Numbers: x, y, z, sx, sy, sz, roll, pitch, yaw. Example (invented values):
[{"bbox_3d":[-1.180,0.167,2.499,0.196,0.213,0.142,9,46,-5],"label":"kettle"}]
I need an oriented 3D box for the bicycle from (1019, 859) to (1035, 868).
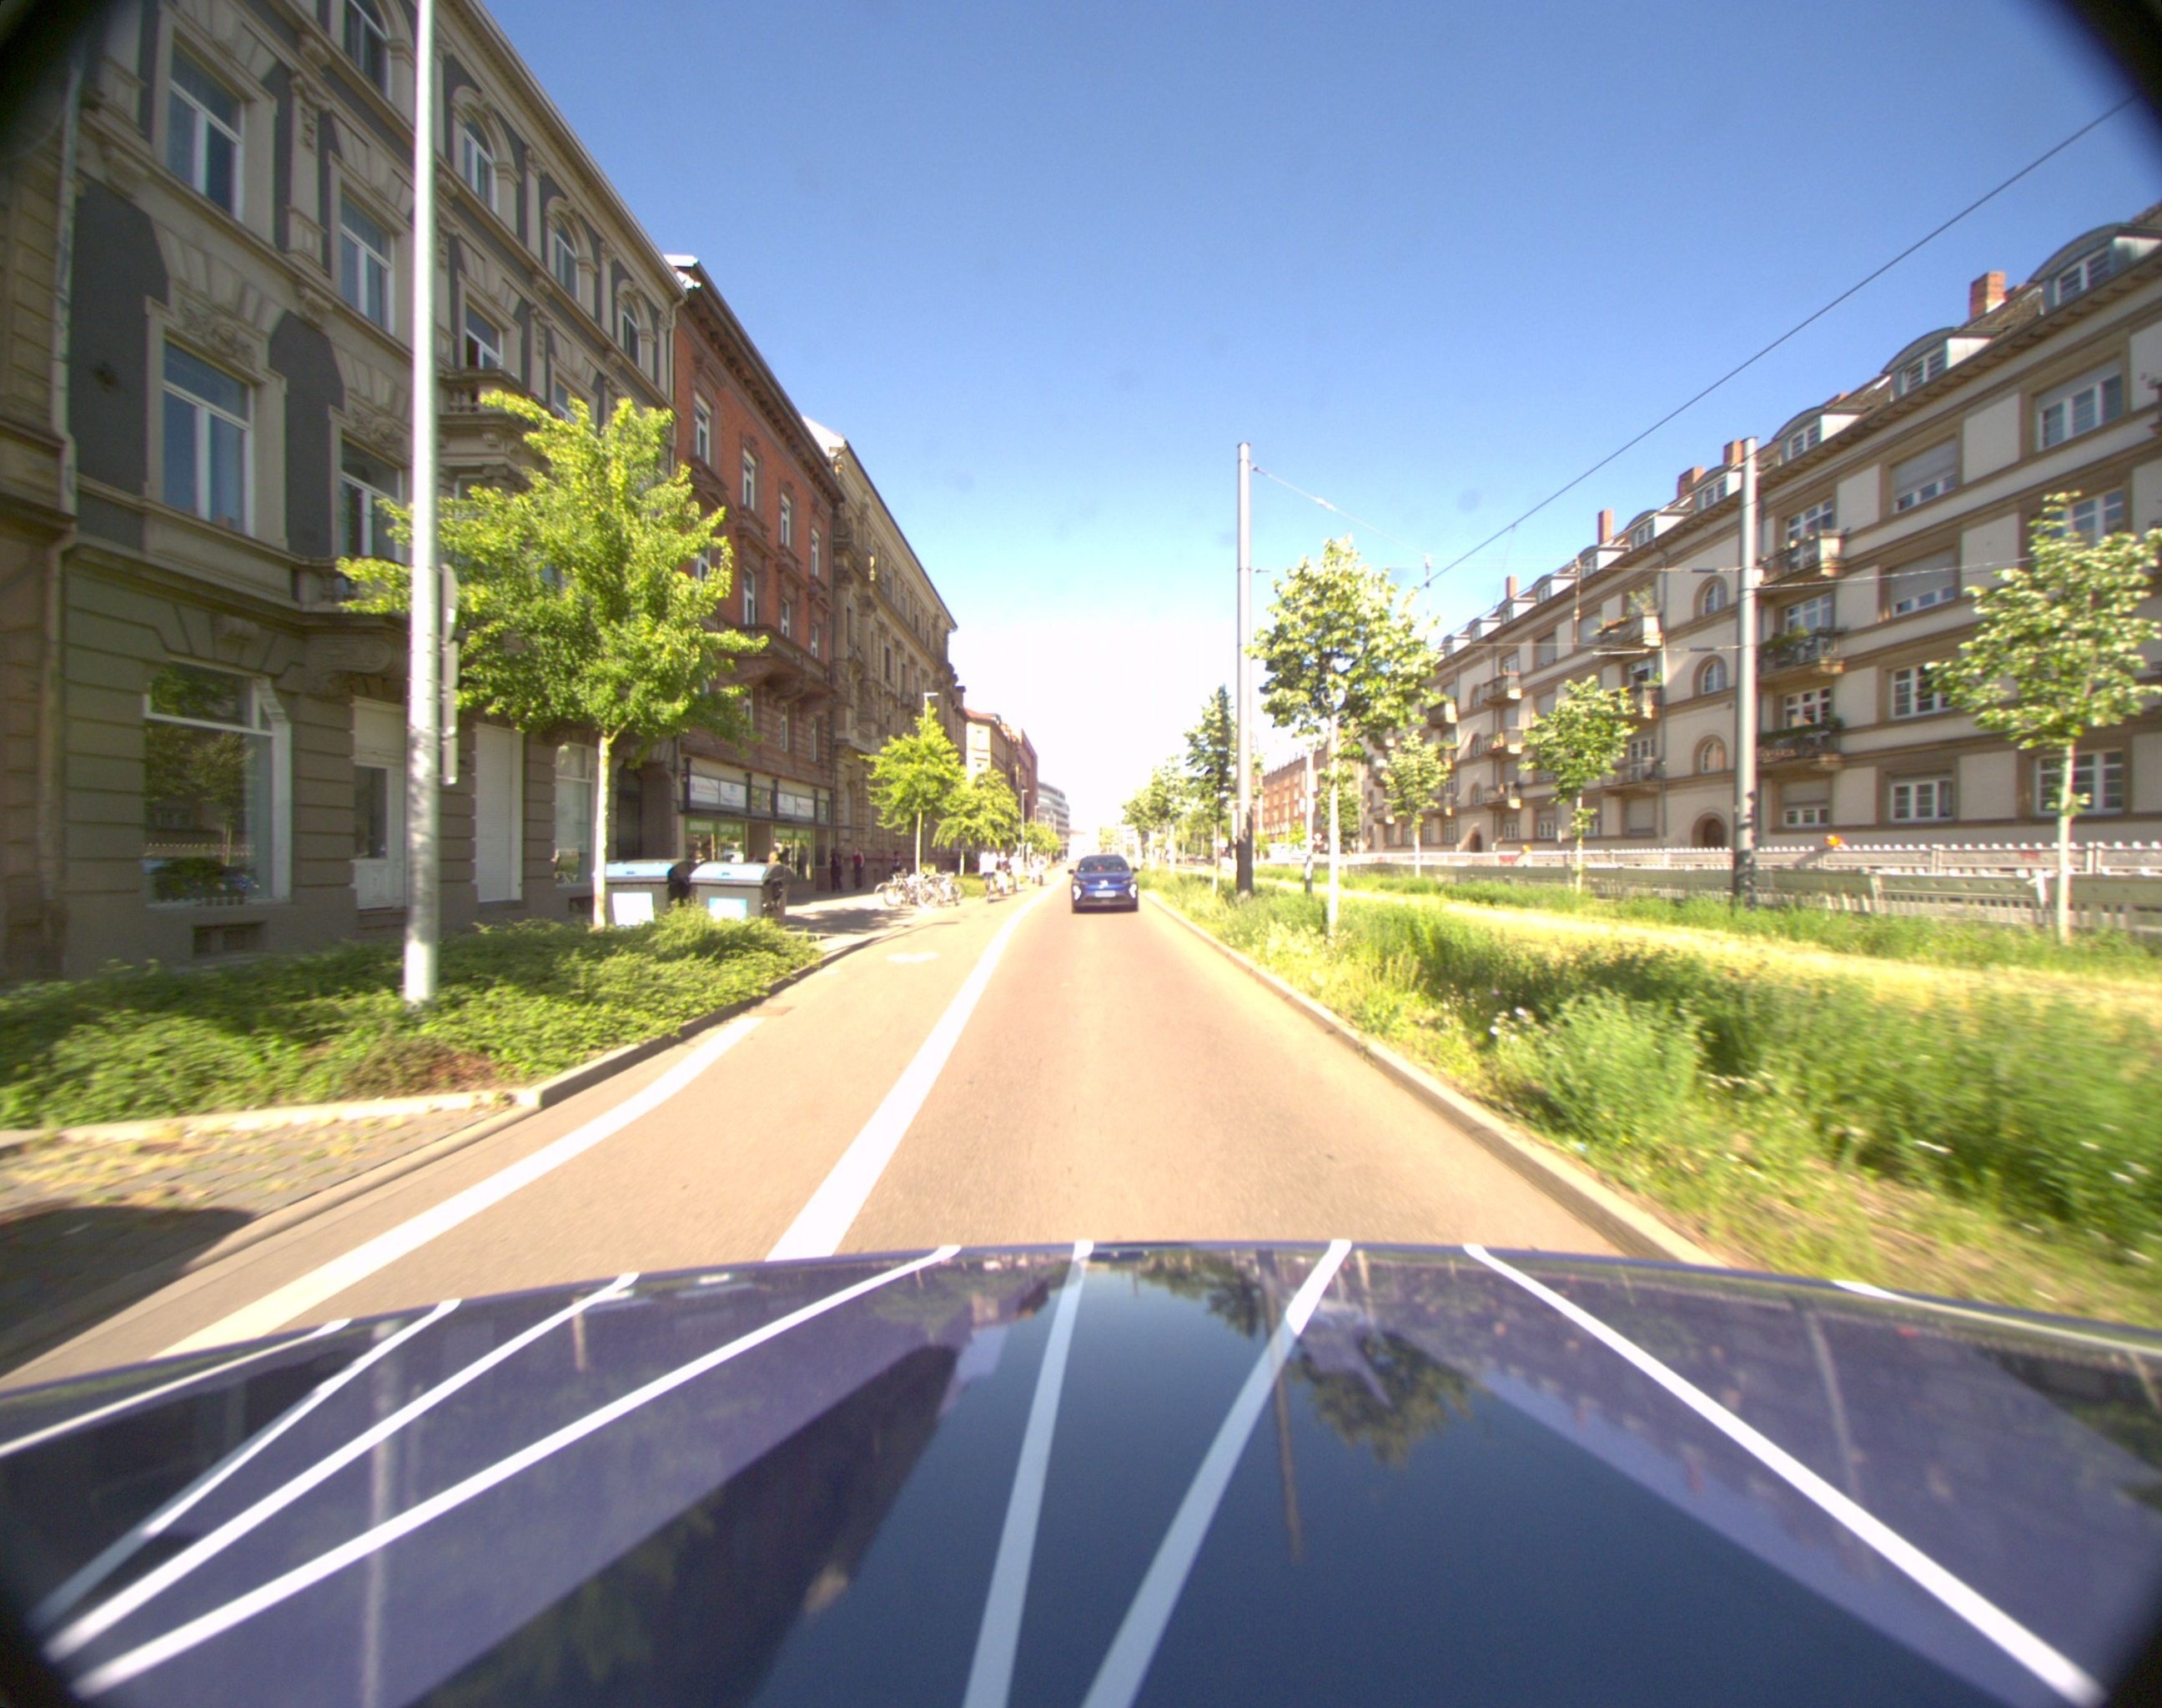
[{"bbox_3d":[-5.848,1.051,81.976,1.717,0.920,0.497,0,1,0],"label":"bicycle"}]

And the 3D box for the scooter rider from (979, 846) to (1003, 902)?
[{"bbox_3d":[-3.077,0.678,26.049,0.662,1.855,0.898,-1,0,1],"label":"scooter rider"}]

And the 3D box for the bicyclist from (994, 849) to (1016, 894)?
[{"bbox_3d":[-3.124,0.697,31.327,0.725,1.807,1.091,-1,0,0],"label":"bicyclist"}]

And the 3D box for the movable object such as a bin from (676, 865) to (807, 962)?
[{"bbox_3d":[-5.437,0.929,12.324,1.274,1.454,1.645,-1,-2,6],"label":"movable object such as a bin"}]

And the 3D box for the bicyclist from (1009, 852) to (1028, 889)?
[{"bbox_3d":[-2.909,0.759,35.450,0.700,1.647,0.977,-1,0,1],"label":"bicyclist"}]

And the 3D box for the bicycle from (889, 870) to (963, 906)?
[{"bbox_3d":[-4.978,1.102,24.405,2.293,1.096,0.486,2,1,-13],"label":"bicycle"}]

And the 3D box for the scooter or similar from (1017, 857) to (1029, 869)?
[{"bbox_3d":[-6.110,0.935,79.826,1.199,1.191,0.487,0,0,-4],"label":"scooter or similar"}]

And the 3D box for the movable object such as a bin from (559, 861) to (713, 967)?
[{"bbox_3d":[-7.041,0.903,12.175,1.376,1.487,1.749,2,1,2],"label":"movable object such as a bin"}]

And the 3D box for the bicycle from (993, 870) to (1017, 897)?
[{"bbox_3d":[-3.111,1.208,31.334,0.725,1.000,1.952,-1,0,1],"label":"bicycle"}]

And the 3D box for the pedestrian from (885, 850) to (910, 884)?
[{"bbox_3d":[-9.259,0.656,38.329,0.972,1.682,1.113,2,1,0],"label":"pedestrian"}]

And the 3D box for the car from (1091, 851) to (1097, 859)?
[{"bbox_3d":[3.845,0.316,227.279,1.758,2.472,4.610,-1,0,1],"label":"car"}]

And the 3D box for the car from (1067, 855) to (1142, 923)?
[{"bbox_3d":[0.600,0.849,20.623,1.758,1.576,4.420,-3,0,1],"label":"car"}]

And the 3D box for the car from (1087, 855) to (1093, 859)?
[{"bbox_3d":[2.968,0.870,248.850,1.743,1.263,4.002,0,0,8],"label":"car"}]

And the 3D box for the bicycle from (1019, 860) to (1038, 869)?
[{"bbox_3d":[-5.598,1.093,81.343,1.905,0.906,0.592,2,2,9],"label":"bicycle"}]

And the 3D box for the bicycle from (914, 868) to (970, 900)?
[{"bbox_3d":[-4.998,1.087,27.388,1.897,1.102,0.517,1,1,-4],"label":"bicycle"}]

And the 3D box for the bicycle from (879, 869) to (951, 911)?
[{"bbox_3d":[-4.909,1.064,22.567,1.980,1.117,0.481,3,0,-5],"label":"bicycle"}]

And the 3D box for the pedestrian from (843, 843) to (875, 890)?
[{"bbox_3d":[-9.306,0.500,31.886,0.891,1.909,1.098,2,1,6],"label":"pedestrian"}]

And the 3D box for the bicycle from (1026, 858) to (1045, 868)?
[{"bbox_3d":[-5.264,1.088,87.617,2.062,1.036,0.847,3,1,0],"label":"bicycle"}]

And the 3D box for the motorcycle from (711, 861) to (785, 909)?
[{"bbox_3d":[-9.883,0.882,22.703,0.868,1.259,2.981,1,1,1],"label":"motorcycle"}]

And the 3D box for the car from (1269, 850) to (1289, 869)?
[{"bbox_3d":[26.034,0.718,100.030,1.997,2.283,5.192,-1,1,9],"label":"car"}]

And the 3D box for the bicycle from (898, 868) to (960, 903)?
[{"bbox_3d":[-5.111,1.063,25.572,1.982,1.102,0.435,1,1,-2],"label":"bicycle"}]

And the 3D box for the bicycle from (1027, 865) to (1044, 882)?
[{"bbox_3d":[-2.792,1.193,46.719,0.830,1.000,1.952,-1,0,1],"label":"bicycle"}]

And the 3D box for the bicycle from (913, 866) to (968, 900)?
[{"bbox_3d":[-4.983,1.033,27.032,1.871,1.172,0.373,0,1,-2],"label":"bicycle"}]

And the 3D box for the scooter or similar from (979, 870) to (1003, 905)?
[{"bbox_3d":[-3.070,1.137,26.025,0.647,1.151,1.150,-1,0,1],"label":"scooter or similar"}]

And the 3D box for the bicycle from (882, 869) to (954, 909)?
[{"bbox_3d":[-4.909,1.056,22.975,2.049,1.100,0.610,2,1,-5],"label":"bicycle"}]

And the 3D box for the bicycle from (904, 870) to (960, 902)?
[{"bbox_3d":[-5.063,1.091,25.915,1.820,1.049,0.571,1,1,-5],"label":"bicycle"}]

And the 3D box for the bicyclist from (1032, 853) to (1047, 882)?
[{"bbox_3d":[-2.321,0.728,42.424,0.725,1.595,0.895,-1,0,1],"label":"bicyclist"}]

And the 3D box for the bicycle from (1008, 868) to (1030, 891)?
[{"bbox_3d":[-2.891,1.191,35.540,0.725,1.000,1.952,-1,0,3],"label":"bicycle"}]

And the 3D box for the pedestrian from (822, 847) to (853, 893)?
[{"bbox_3d":[-9.473,0.619,29.577,0.849,1.726,0.902,3,1,0],"label":"pedestrian"}]

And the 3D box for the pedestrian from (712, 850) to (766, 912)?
[{"bbox_3d":[-9.174,0.717,20.438,0.973,1.629,0.992,1,0,1],"label":"pedestrian"}]

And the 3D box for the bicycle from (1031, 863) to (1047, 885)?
[{"bbox_3d":[-2.314,1.103,42.429,0.725,1.187,1.952,-1,0,1],"label":"bicycle"}]

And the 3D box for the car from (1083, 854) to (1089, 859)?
[{"bbox_3d":[1.544,0.866,240.386,1.745,1.543,4.000,0,0,0],"label":"car"}]

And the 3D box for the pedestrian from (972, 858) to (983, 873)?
[{"bbox_3d":[-8.170,0.896,60.011,0.719,1.176,0.881,0,1,0],"label":"pedestrian"}]

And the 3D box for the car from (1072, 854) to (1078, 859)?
[{"bbox_3d":[-1.872,0.800,242.550,1.745,1.543,4.000,0,0,1],"label":"car"}]

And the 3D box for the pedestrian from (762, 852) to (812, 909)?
[{"bbox_3d":[-8.260,0.746,21.370,0.952,1.557,1.080,1,-1,0],"label":"pedestrian"}]

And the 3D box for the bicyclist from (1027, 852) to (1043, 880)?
[{"bbox_3d":[-2.801,0.738,46.722,0.854,1.717,0.989,-1,0,1],"label":"bicyclist"}]

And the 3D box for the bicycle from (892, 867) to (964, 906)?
[{"bbox_3d":[-4.842,1.026,24.058,2.154,1.148,0.429,3,0,-13],"label":"bicycle"}]
